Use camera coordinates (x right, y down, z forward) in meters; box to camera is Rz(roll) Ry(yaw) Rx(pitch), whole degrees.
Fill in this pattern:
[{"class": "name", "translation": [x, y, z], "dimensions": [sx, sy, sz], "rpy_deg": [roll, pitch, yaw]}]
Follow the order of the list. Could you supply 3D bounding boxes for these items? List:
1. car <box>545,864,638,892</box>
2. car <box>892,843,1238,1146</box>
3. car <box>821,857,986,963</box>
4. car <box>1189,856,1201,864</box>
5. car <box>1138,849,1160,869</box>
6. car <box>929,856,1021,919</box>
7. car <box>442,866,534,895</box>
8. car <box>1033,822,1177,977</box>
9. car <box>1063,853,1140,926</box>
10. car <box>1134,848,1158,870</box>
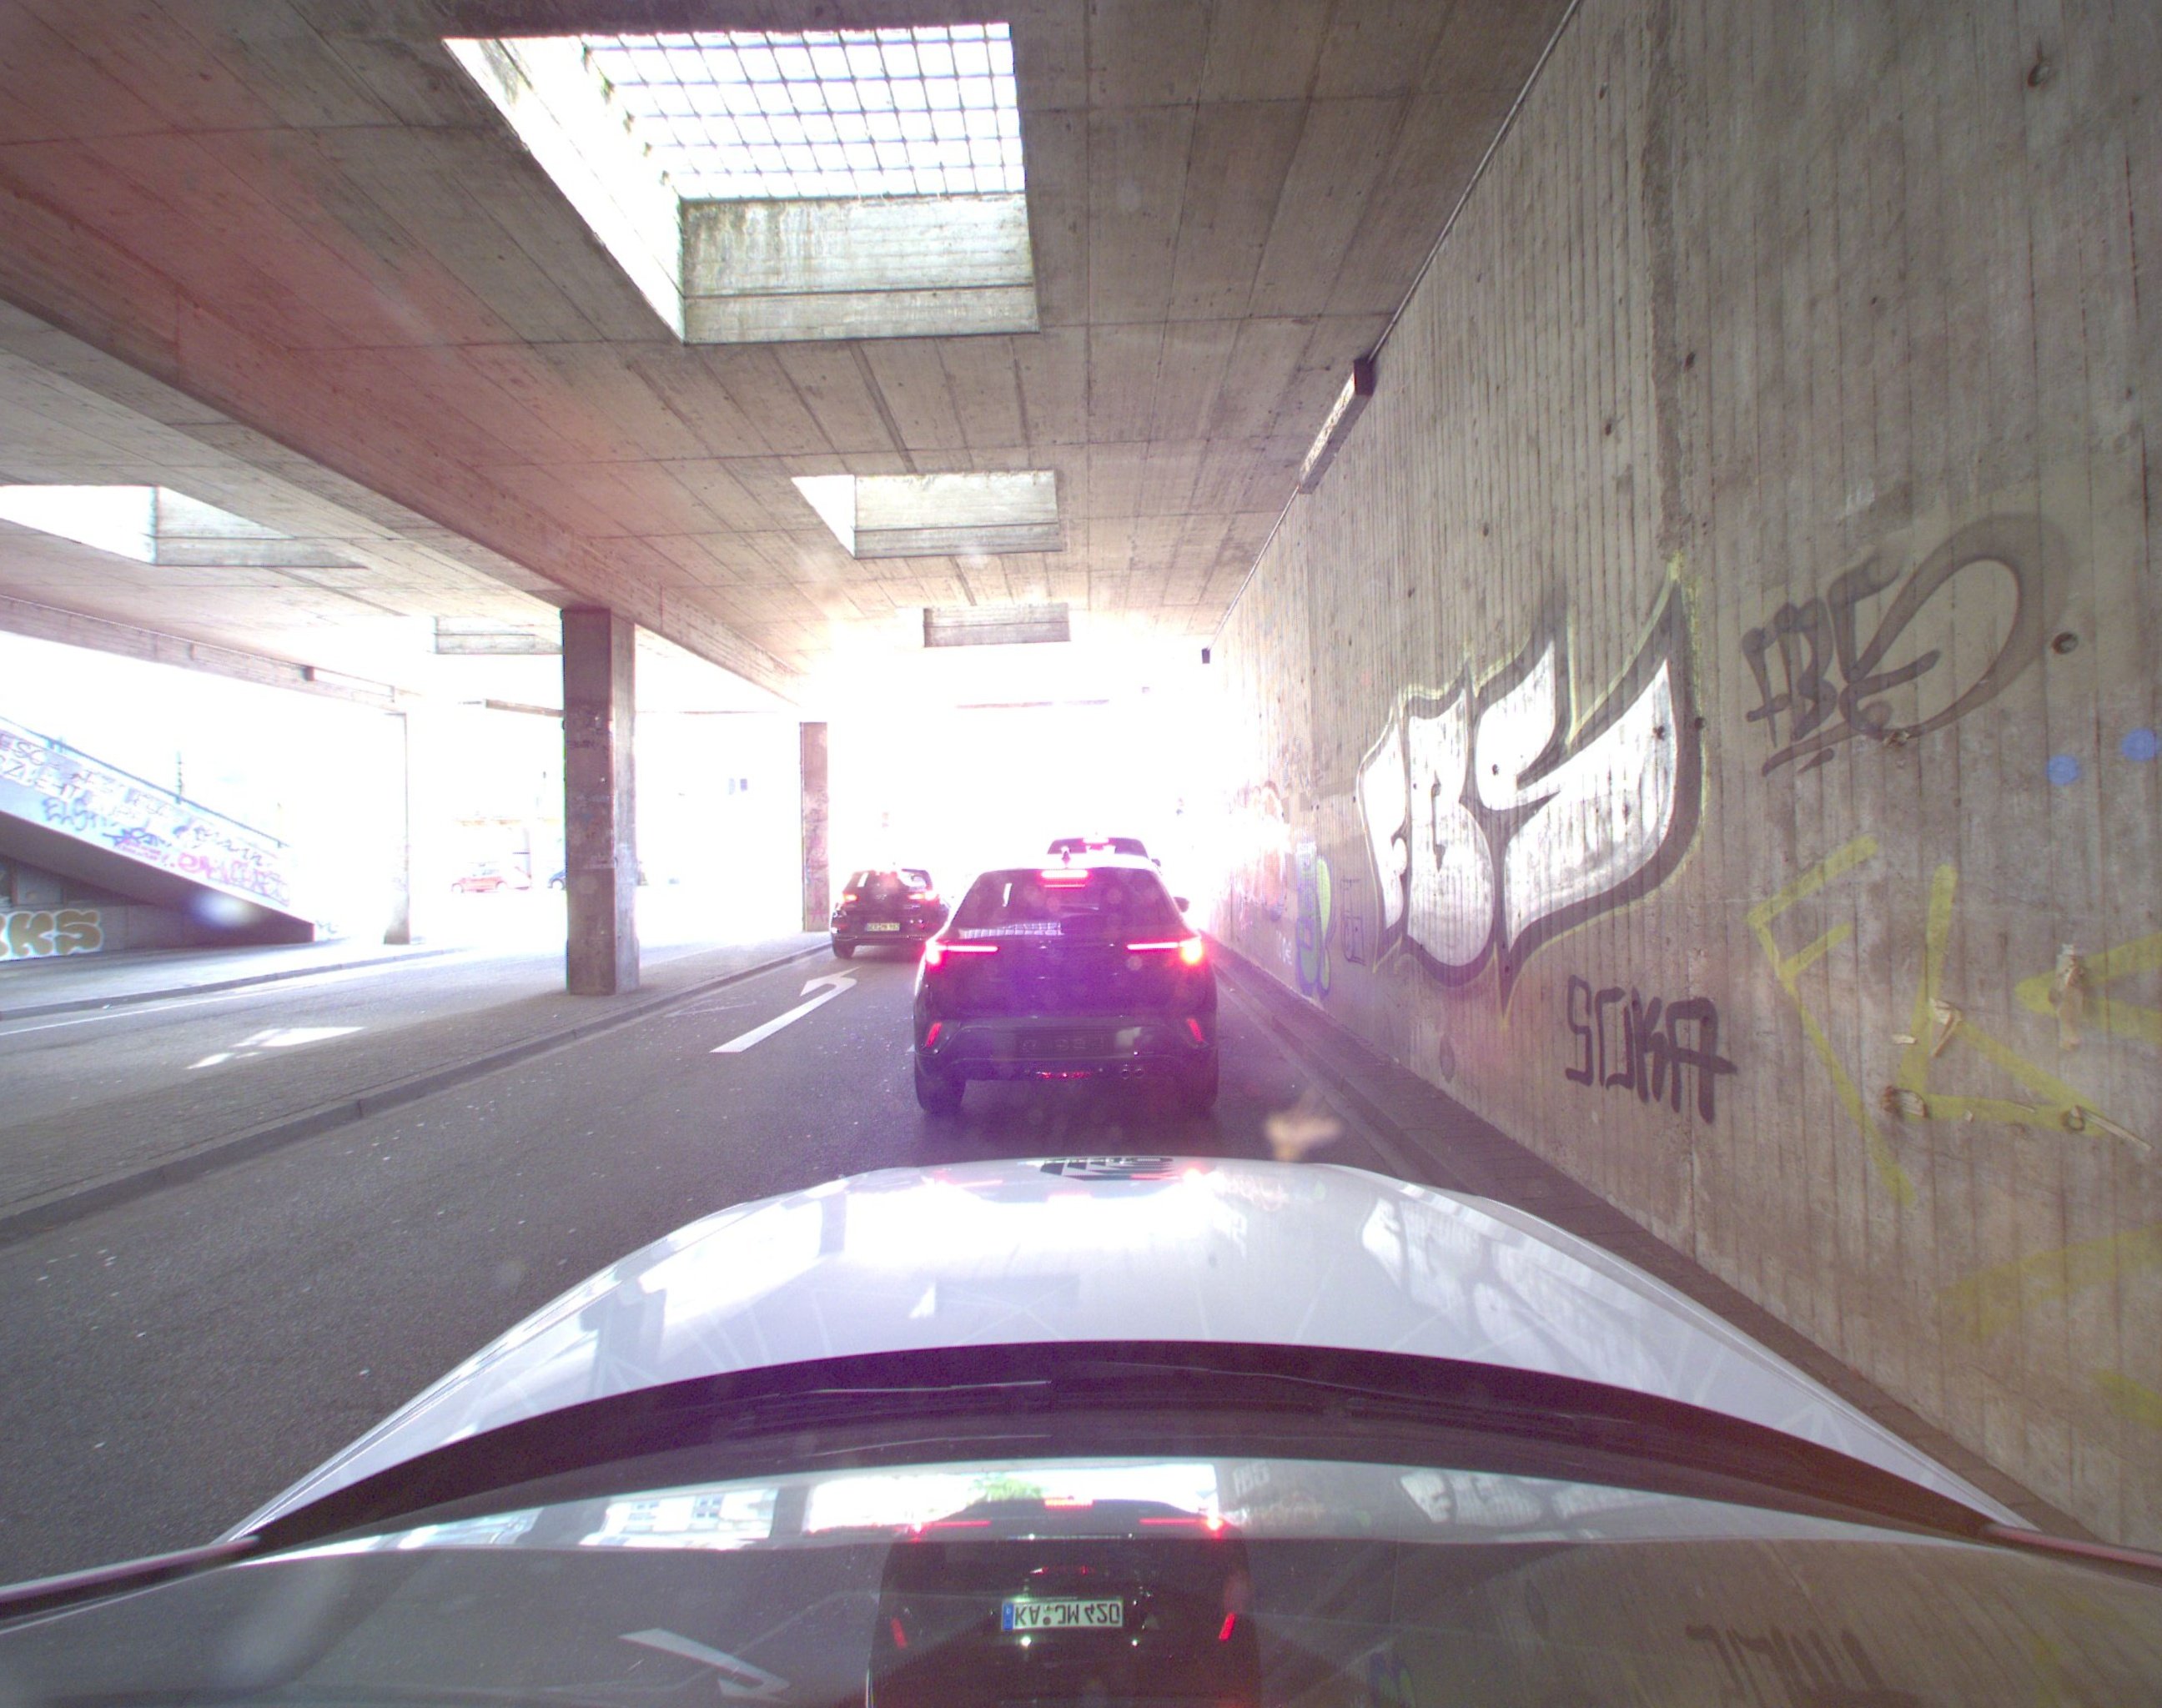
[{"class": "car", "translation": [-27.168, 1.322, 45.296], "dimensions": [4.096, 1.475, 1.737], "rpy_deg": [-1, -1, 0]}, {"class": "car", "translation": [-0.021, 0.727, 6.232], "dimensions": [1.755, 1.531, 4.091], "rpy_deg": [-1, 0, 2]}, {"class": "car", "translation": [-2.742, 0.801, 13.490], "dimensions": [1.755, 1.480, 3.846], "rpy_deg": [-1, 0, 2]}, {"class": "car", "translation": [22.204, 1.170, 157.901], "dimensions": [1.805, 1.667, 4.833], "rpy_deg": [-1, -1, 13]}, {"class": "car", "translation": [5.759, 0.428, 68.363], "dimensions": [1.745, 1.667, 3.950], "rpy_deg": [0, -1, 6]}, {"class": "car", "translation": [-2.653, 0.797, 21.218], "dimensions": [1.755, 1.480, 3.846], "rpy_deg": [-1, 0, 2]}, {"class": "car", "translation": [-32.924, 1.445, 45.273], "dimensions": [3.748, 1.475, 1.749], "rpy_deg": [-1, -1, 0]}, {"class": "car", "translation": [0.364, 0.568, 12.171], "dimensions": [1.755, 1.883, 4.148], "rpy_deg": [-1, 0, 2]}, {"class": "car", "translation": [0.499, 0.763, 19.389], "dimensions": [1.603, 1.513, 4.055], "rpy_deg": [-1, 0, 2]}, {"class": "car", "translation": [4.972, 0.384, 62.259], "dimensions": [1.745, 1.667, 3.950], "rpy_deg": [0, -1, 6]}]
